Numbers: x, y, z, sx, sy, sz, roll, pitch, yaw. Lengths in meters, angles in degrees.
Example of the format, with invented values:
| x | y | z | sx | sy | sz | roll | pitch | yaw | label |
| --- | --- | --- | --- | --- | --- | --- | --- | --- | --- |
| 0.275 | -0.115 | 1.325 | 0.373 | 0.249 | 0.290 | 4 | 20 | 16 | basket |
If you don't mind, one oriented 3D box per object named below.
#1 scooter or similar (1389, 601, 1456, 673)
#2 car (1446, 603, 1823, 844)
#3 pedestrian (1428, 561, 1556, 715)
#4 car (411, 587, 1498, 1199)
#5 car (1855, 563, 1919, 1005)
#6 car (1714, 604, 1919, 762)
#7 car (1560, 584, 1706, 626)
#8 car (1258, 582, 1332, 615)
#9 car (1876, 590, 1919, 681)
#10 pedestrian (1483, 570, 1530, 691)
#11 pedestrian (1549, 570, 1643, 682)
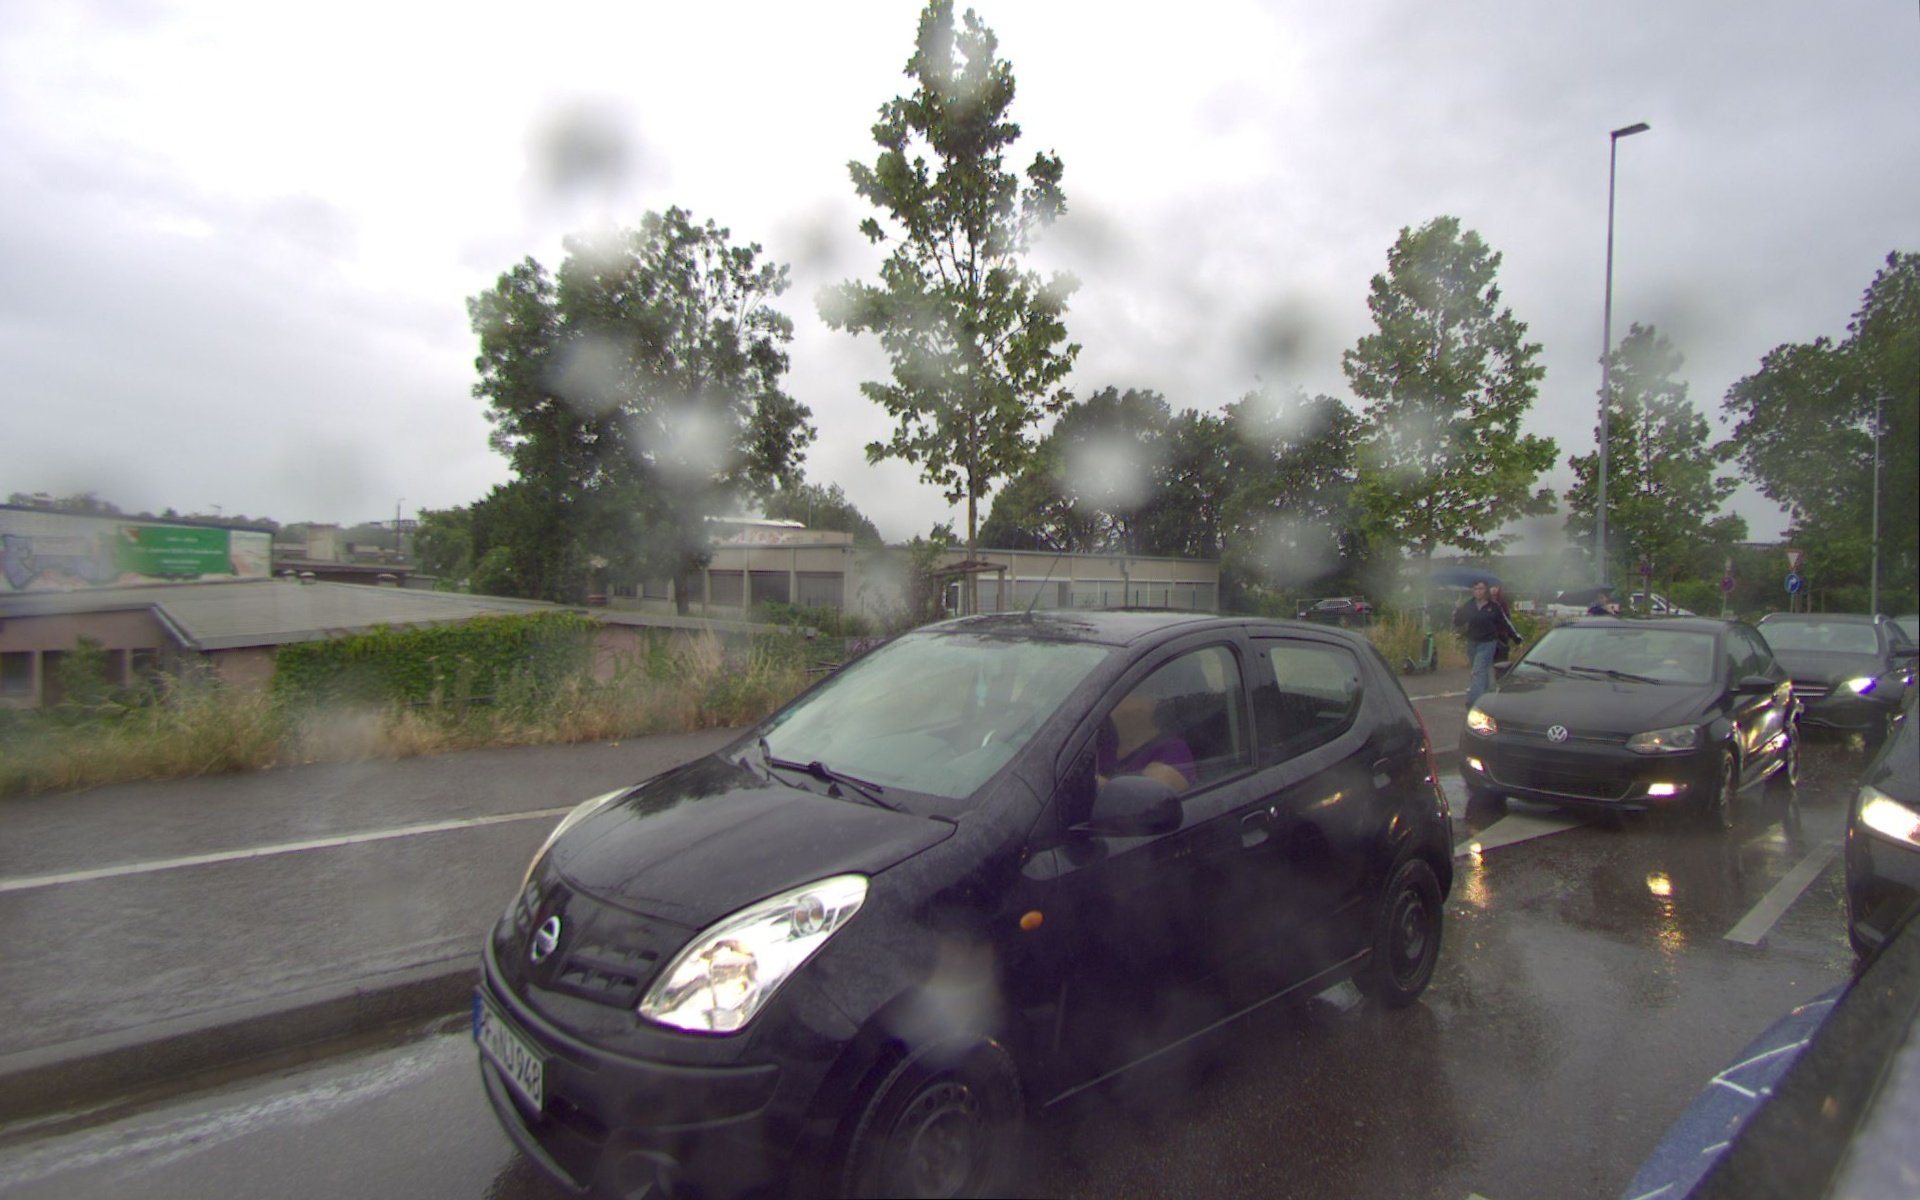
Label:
| x | y | z | sx | sy | sz | roll | pitch | yaw | label |
| --- | --- | --- | --- | --- | --- | --- | --- | --- | --- |
| 7.892 | 0.610 | 17.242 | 1.747 | 1.144 | 0.380 | -1 | 2 | -43 | scooter or similar |
| 5.390 | 0.756 | 7.930 | 3.561 | 1.447 | 1.631 | 0 | 0 | -42 | car |
| 6.543 | 0.421 | 12.464 | 0.953 | 1.777 | 1.081 | 0 | 3 | -42 | pedestrian |
| 0.296 | 0.708 | 3.475 | 3.561 | 1.447 | 1.631 | 0 | 0 | -42 | car |
| 5.463 | 0.652 | 4.507 | 4.091 | 1.607 | 1.688 | -1 | 0 | -41 | car |
| 10.821 | 0.874 | 12.462 | 3.747 | 1.594 | 1.697 | -1 | 0 | -41 | car |
| 28.080 | 0.176 | 42.346 | 1.966 | 1.670 | 4.752 | -1 | 1 | -42 | car |
| 20.993 | -0.106 | 63.470 | 1.964 | 2.039 | 3.996 | 0 | 0 | -38 | car |
| 17.760 | 0.588 | 18.056 | 4.052 | 1.488 | 1.702 | -1 | 1 | -42 | car |
| 7.784 | 0.419 | 14.413 | 0.433 | 1.682 | 0.400 | 0 | 3 | -42 | pedestrian |
| 10.364 | 0.390 | 16.498 | 0.876 | 1.729 | 1.024 | 0 | 3 | -41 | pedestrian |
